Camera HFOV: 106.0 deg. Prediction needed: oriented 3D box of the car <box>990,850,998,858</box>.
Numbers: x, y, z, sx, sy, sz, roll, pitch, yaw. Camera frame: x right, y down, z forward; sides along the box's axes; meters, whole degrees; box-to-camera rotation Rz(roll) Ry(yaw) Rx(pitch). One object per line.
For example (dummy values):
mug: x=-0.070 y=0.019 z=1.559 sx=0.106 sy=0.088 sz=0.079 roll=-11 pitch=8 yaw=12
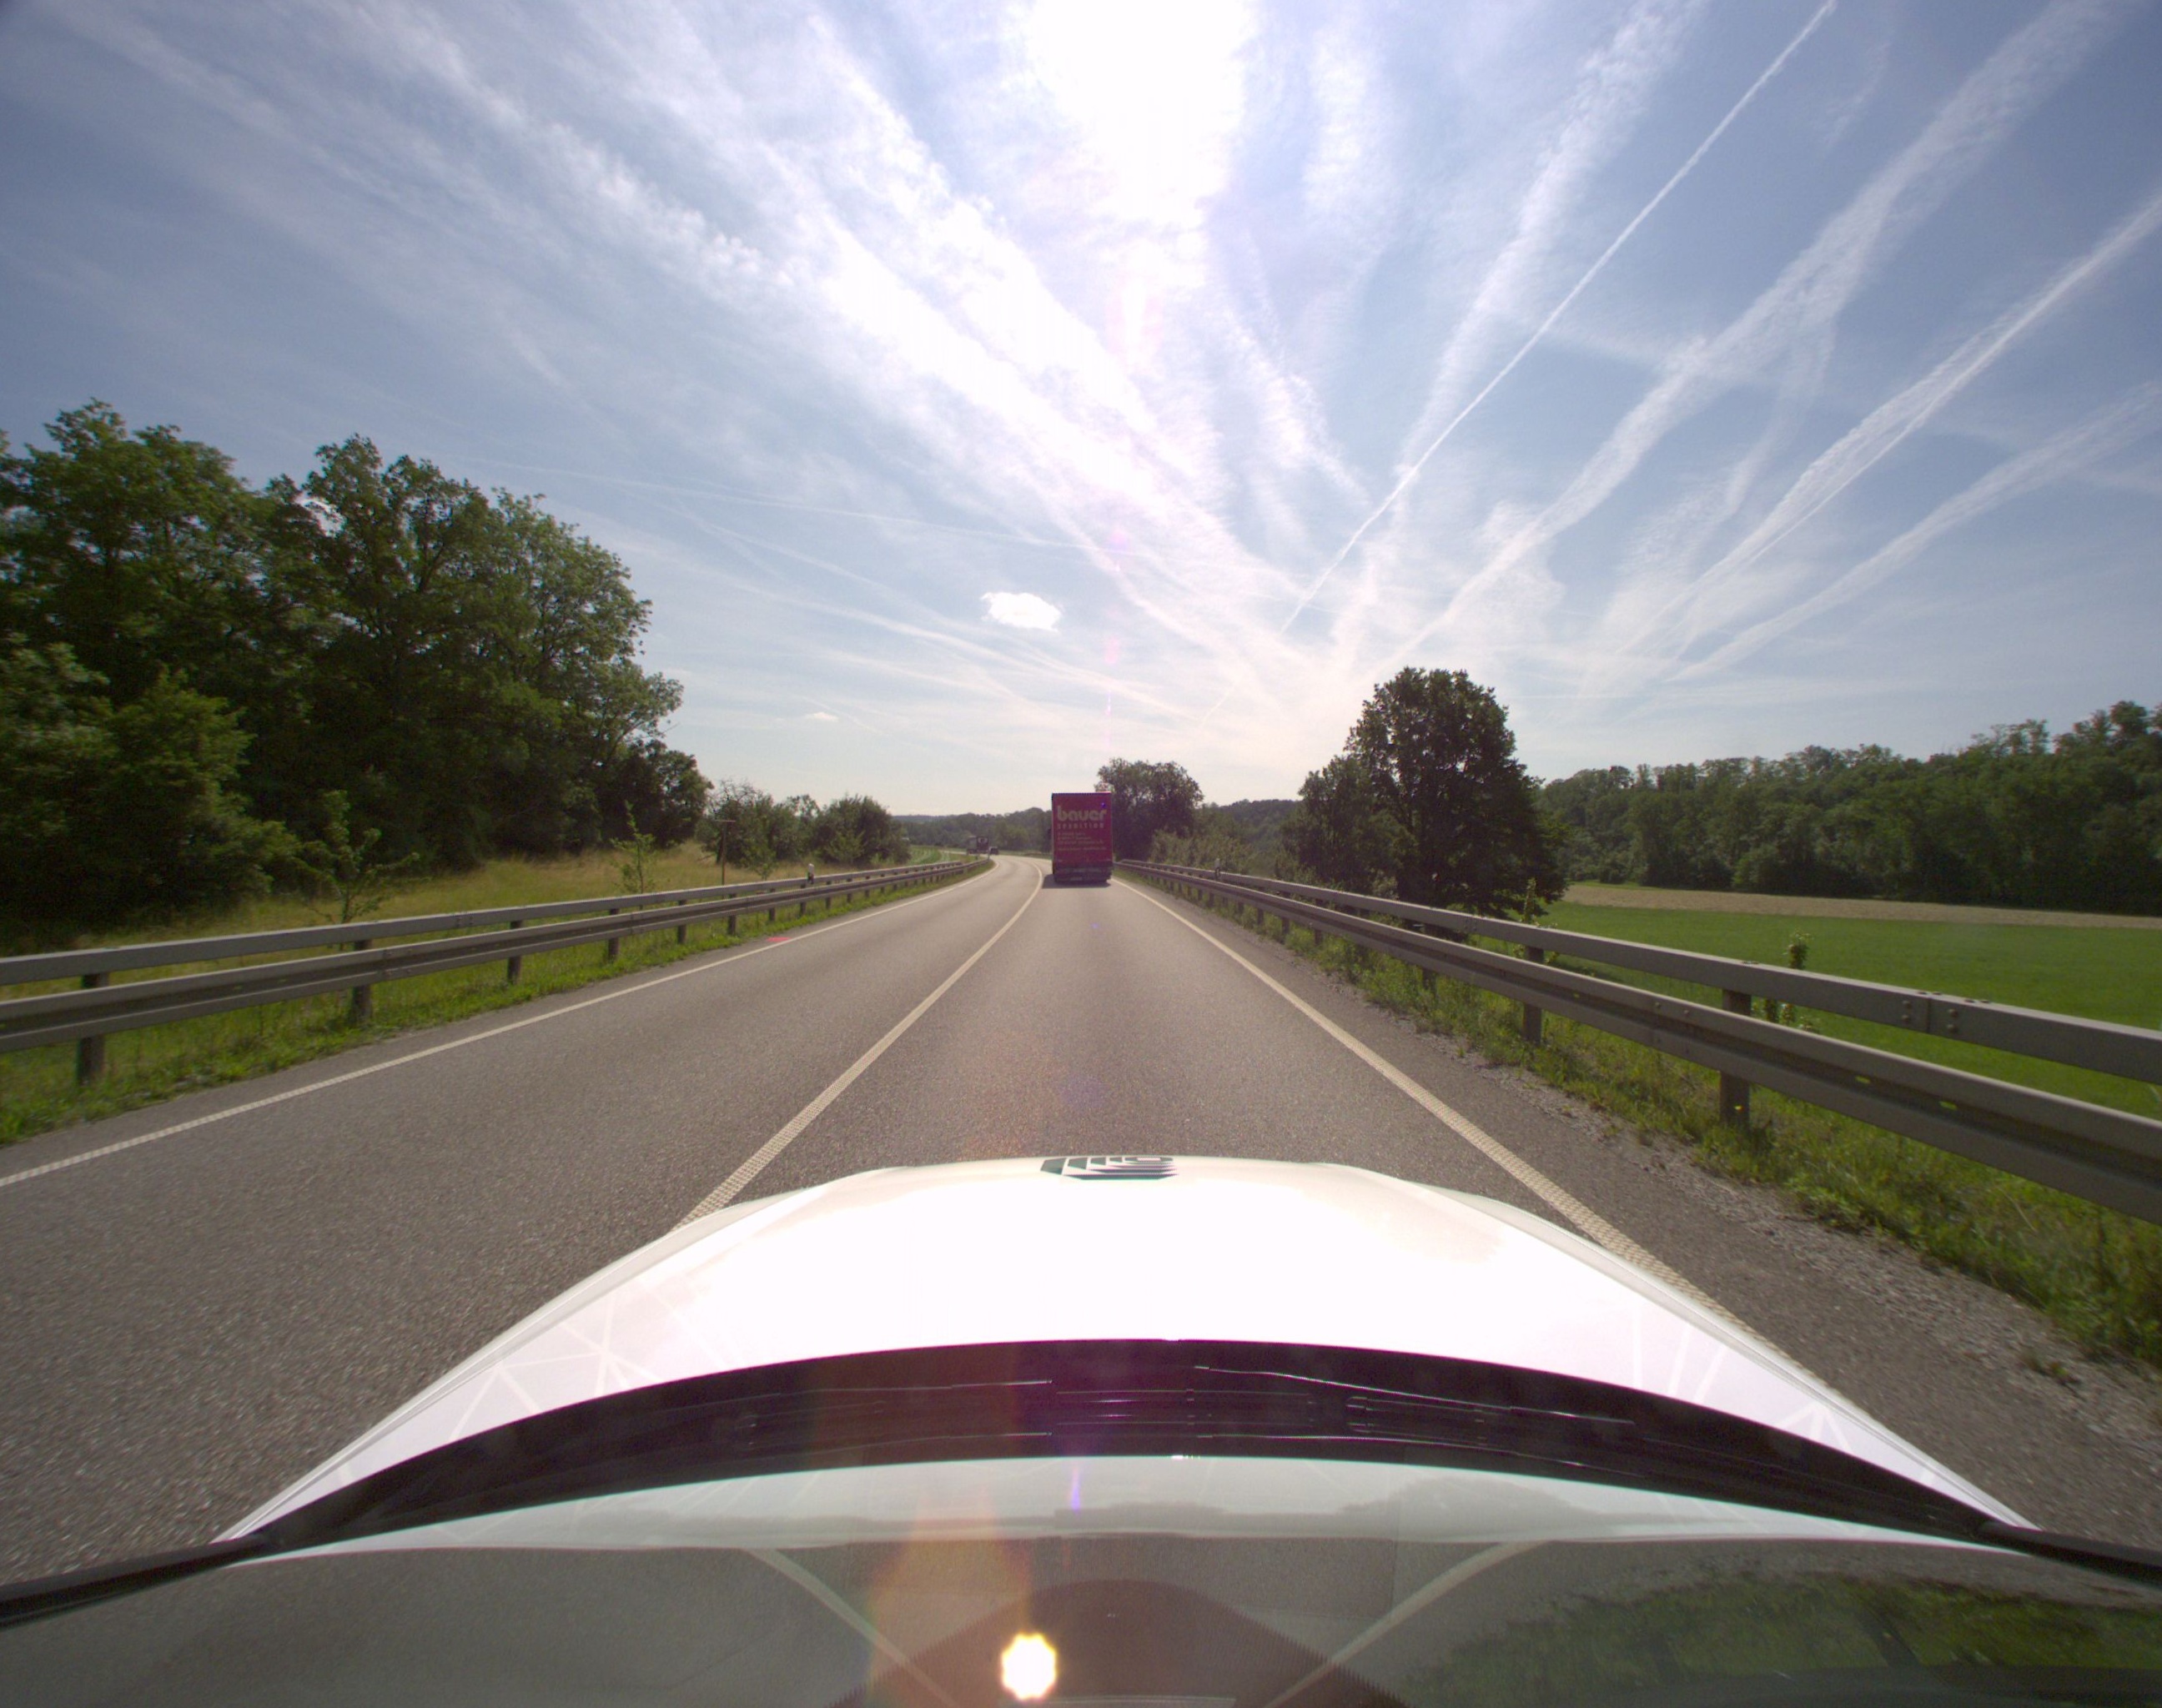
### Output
car: x=-17.240 y=-0.094 z=161.251 sx=1.580 sy=1.501 sz=3.867 roll=0 pitch=1 yaw=-7

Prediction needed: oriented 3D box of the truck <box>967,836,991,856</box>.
truck: x=-23.399 y=-1.730 z=185.502 sx=3.648 sy=4.292 sz=11.920 roll=-1 pitch=0 yaw=-16

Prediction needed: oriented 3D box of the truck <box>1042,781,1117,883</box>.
truck: x=-0.115 y=-0.958 z=38.480 sx=3.085 sy=4.262 sz=8.311 roll=-1 pitch=0 yaw=-1
